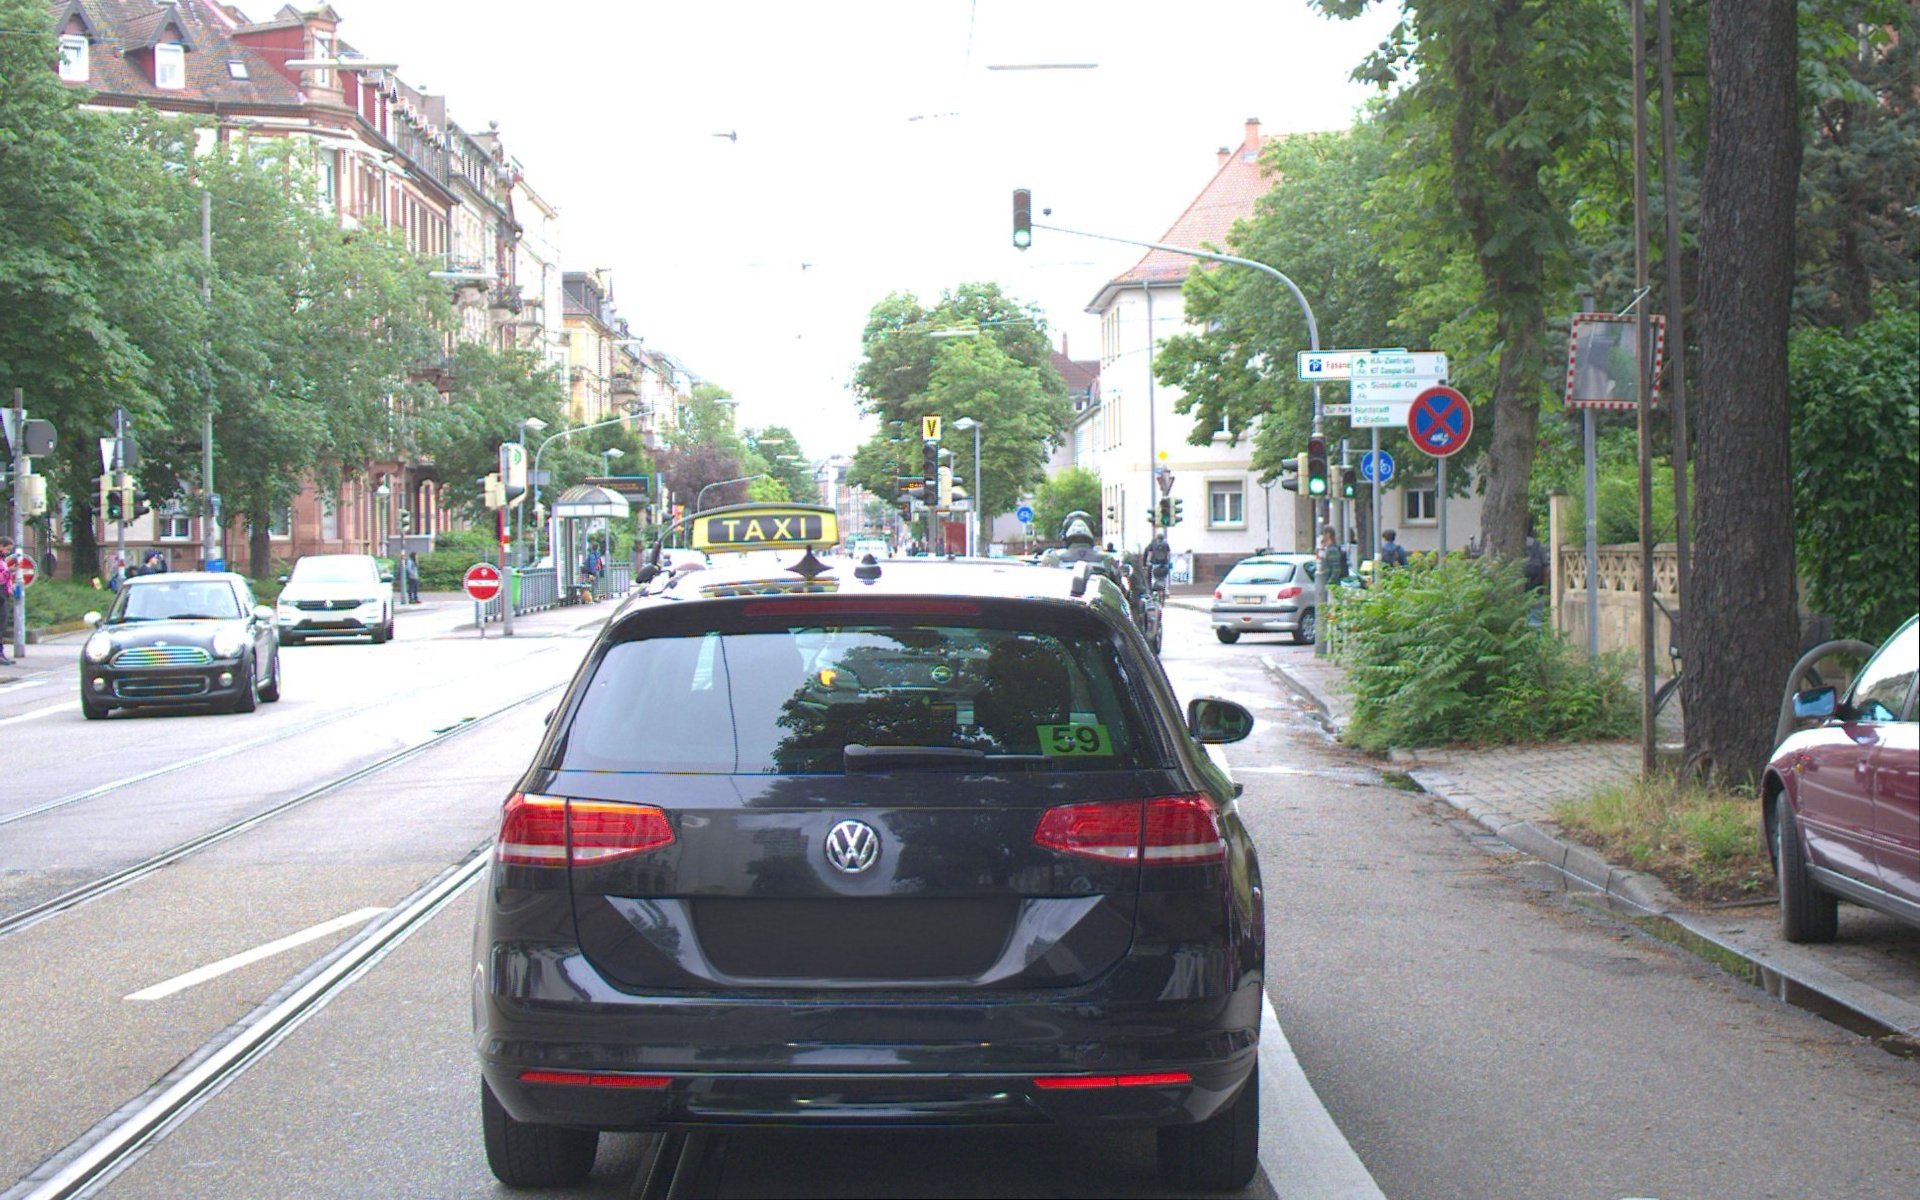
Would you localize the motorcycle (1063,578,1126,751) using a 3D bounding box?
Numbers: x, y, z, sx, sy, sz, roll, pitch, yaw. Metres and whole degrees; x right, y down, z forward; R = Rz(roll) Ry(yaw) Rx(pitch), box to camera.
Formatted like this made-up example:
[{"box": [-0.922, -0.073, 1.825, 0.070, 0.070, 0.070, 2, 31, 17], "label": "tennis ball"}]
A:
[{"box": [1.013, 0.461, 25.822, 0.446, 1.231, 1.907, 0, 1, 2], "label": "motorcycle"}]

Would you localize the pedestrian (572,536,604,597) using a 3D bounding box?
[{"box": [-9.381, -0.849, 86.706, 0.714, 1.515, 0.590, 0, 1, 1], "label": "pedestrian"}]

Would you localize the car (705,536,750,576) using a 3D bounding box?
[{"box": [-9.735, -1.854, 144.164, 1.721, 1.617, 3.864, 0, 1, -1], "label": "car"}]

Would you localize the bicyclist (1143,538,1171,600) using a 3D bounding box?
[{"box": [4.959, -0.782, 86.450, 0.651, 1.563, 0.695, 0, 1, 6], "label": "bicyclist"}]

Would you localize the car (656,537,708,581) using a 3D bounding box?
[{"box": [-10.436, -1.566, 129.175, 1.721, 1.617, 3.864, 0, 1, -1], "label": "car"}]

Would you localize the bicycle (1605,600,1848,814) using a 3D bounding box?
[{"box": [4.487, 0.602, 20.046, 0.433, 1.194, 1.899, 0, 0, 44], "label": "bicycle"}]

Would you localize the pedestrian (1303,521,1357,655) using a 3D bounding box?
[{"box": [5.178, -0.170, 48.088, 0.585, 1.824, 0.604, -3, 1, 0], "label": "pedestrian"}]

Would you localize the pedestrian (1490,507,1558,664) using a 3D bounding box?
[{"box": [6.555, -0.173, 39.969, 0.632, 1.808, 0.726, 0, 1, -3], "label": "pedestrian"}]

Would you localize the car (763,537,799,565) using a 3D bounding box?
[{"box": [-10.356, -2.871, 199.125, 1.795, 1.590, 4.000, 0, 1, 2], "label": "car"}]

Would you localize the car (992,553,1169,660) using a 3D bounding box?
[{"box": [1.742, 0.061, 48.363, 1.893, 1.403, 3.998, -1, 1, 11], "label": "car"}]

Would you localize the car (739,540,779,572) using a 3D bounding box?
[{"box": [-9.412, -2.085, 161.063, 1.721, 1.460, 3.864, 0, 1, -1], "label": "car"}]

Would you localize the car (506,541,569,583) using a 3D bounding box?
[{"box": [-16.335, -1.484, 133.035, 1.993, 1.590, 4.000, -1, 1, -1], "label": "car"}]

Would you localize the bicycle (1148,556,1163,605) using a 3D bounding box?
[{"box": [4.913, -0.502, 86.397, 0.297, 1.219, 1.430, 0, 1, 6], "label": "bicycle"}]

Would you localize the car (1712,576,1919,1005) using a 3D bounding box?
[{"box": [4.018, 0.635, 12.344, 1.602, 1.394, 4.227, -2, 1, -1], "label": "car"}]

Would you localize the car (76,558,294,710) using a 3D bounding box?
[{"box": [-7.844, 0.306, 35.036, 1.608, 1.417, 3.487, -1, 1, -4], "label": "car"}]

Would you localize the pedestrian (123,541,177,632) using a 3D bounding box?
[{"box": [-14.866, -0.258, 63.082, 0.836, 1.657, 0.591, 0, 1, 1], "label": "pedestrian"}]

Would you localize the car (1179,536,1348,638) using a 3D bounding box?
[{"box": [4.986, -0.213, 56.041, 1.995, 1.572, 3.997, 1, 0, 16], "label": "car"}]

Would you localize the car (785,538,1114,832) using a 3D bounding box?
[{"box": [-0.088, 0.413, 20.056, 1.723, 1.541, 4.000, 0, 1, -1], "label": "car"}]

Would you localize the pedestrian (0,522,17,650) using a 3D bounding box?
[{"box": [-14.062, -0.202, 49.815, 0.623, 1.836, 0.610, 0, 1, -3], "label": "pedestrian"}]

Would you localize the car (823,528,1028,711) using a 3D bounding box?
[{"box": [-0.322, 0.132, 31.019, 1.723, 1.541, 4.000, 0, 1, -1], "label": "car"}]

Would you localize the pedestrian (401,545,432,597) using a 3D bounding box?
[{"box": [-15.934, -0.853, 100.815, 0.589, 1.515, 0.647, 0, 1, 35], "label": "pedestrian"}]

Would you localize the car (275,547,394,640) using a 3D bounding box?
[{"box": [-10.687, -0.140, 58.914, 1.698, 1.491, 3.931, -2, 1, -6], "label": "car"}]

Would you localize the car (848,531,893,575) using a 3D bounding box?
[{"box": [-4.212, -2.220, 162.585, 2.033, 2.007, 4.000, 1, 0, -1], "label": "car"}]

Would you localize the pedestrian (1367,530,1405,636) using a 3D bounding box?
[{"box": [7.465, -0.297, 60.239, 0.514, 1.824, 0.417, -3, 1, 16], "label": "pedestrian"}]

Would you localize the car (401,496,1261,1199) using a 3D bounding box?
[{"box": [-0.292, 0.530, 8.904, 1.723, 1.541, 4.000, 0, 1, -1], "label": "car"}]

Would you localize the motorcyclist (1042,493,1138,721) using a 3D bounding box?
[{"box": [0.982, 0.048, 25.899, 0.703, 1.686, 0.804, 0, 1, 2], "label": "motorcyclist"}]
